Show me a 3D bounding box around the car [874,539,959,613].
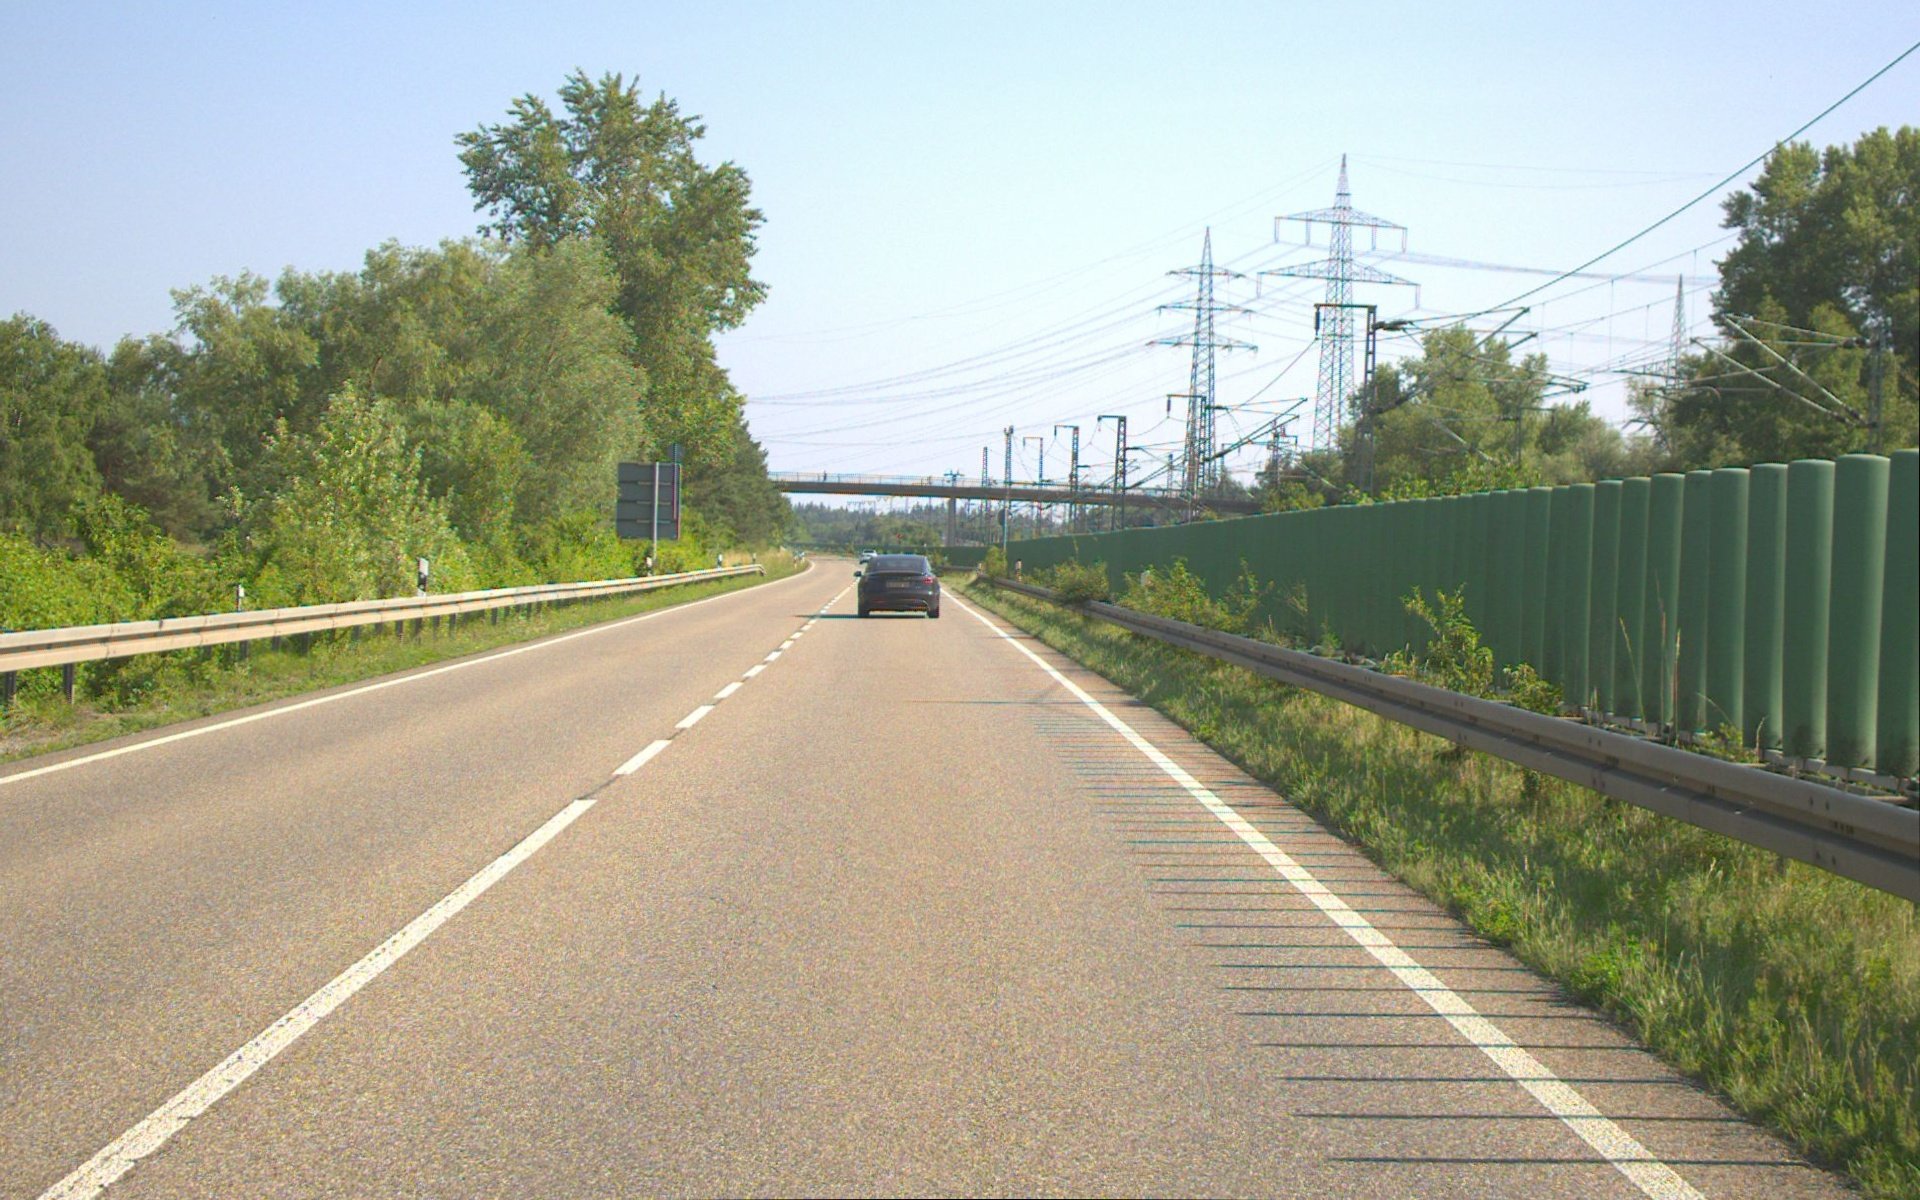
[{"bbox_3d":[-1.022,-0.572,78.440,1.858,1.636,4.000,0,1,-2],"label":"car"}]
